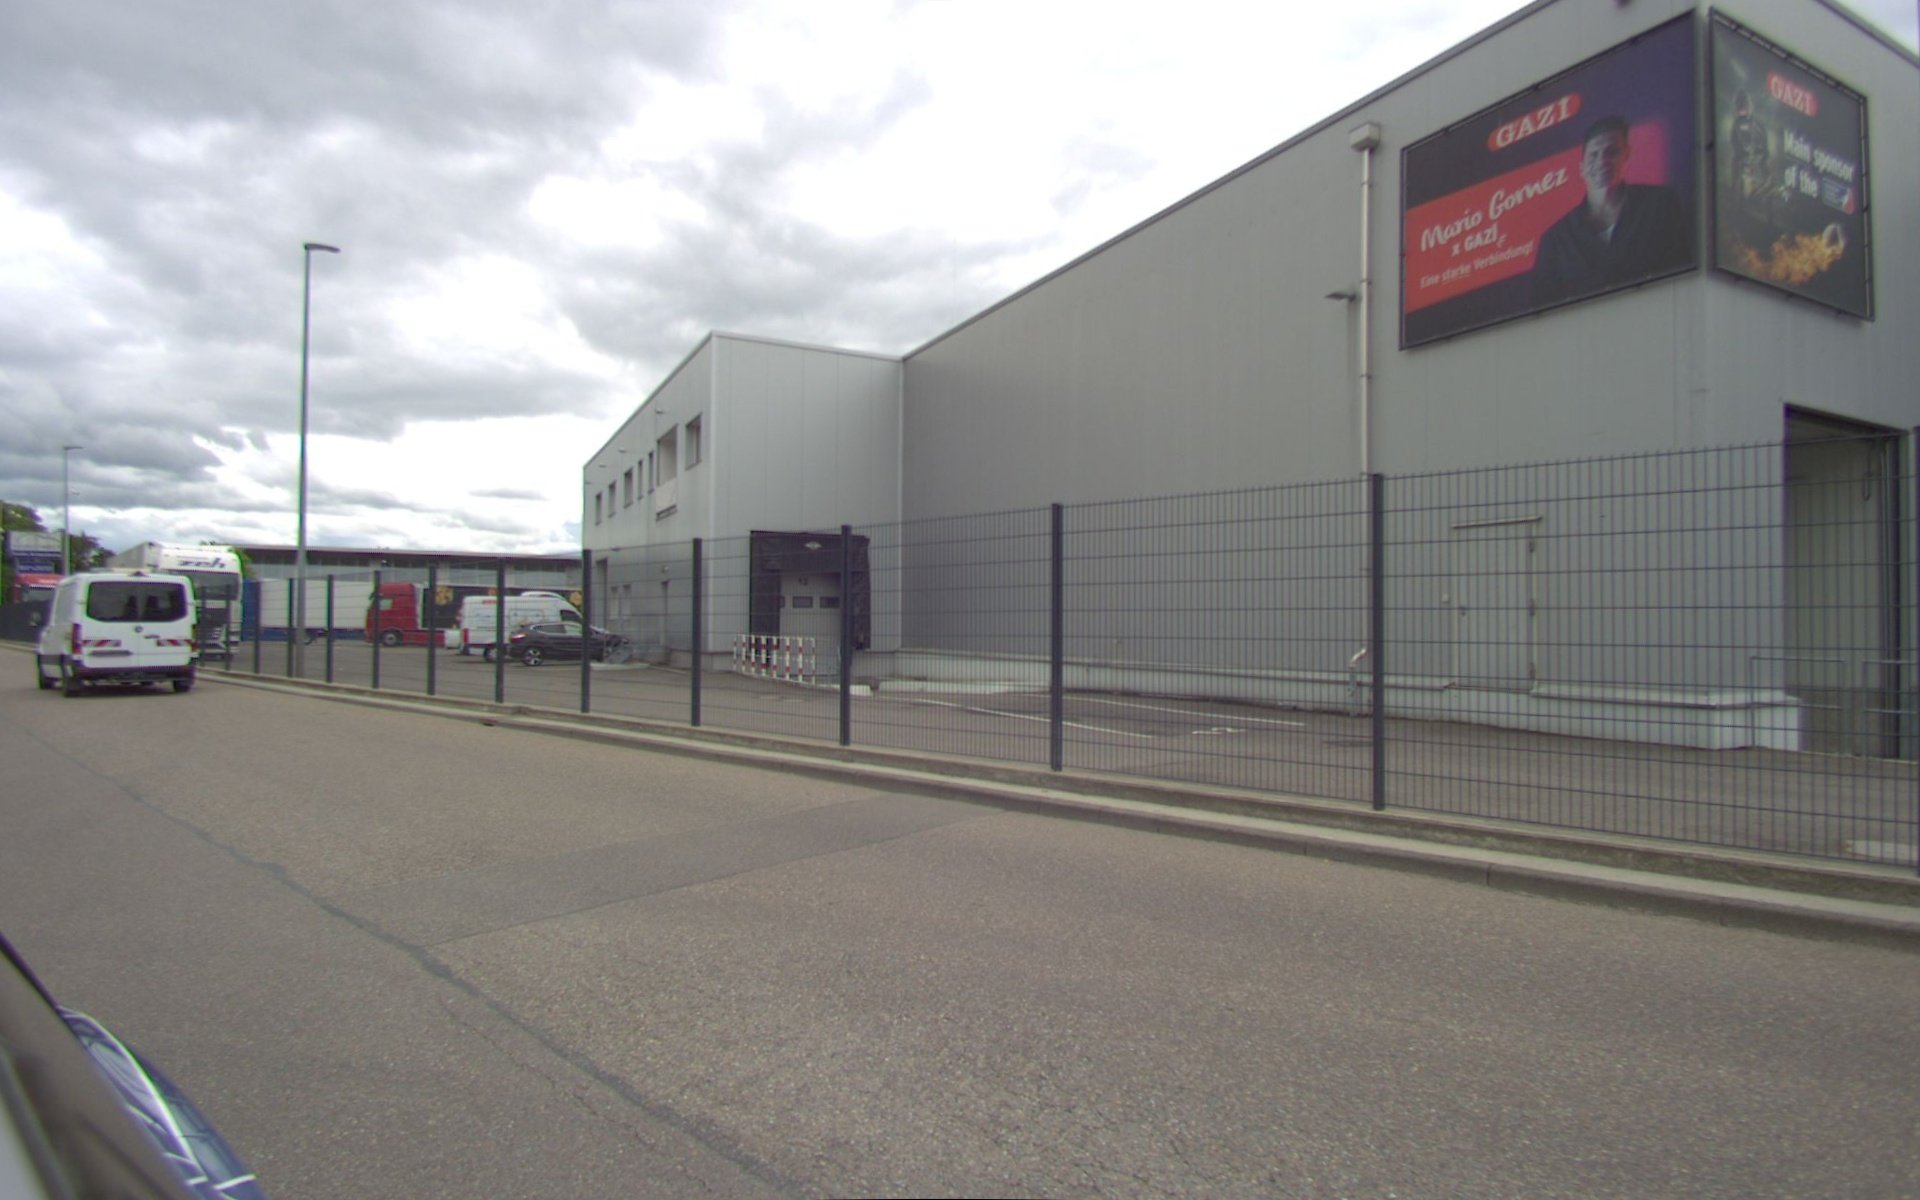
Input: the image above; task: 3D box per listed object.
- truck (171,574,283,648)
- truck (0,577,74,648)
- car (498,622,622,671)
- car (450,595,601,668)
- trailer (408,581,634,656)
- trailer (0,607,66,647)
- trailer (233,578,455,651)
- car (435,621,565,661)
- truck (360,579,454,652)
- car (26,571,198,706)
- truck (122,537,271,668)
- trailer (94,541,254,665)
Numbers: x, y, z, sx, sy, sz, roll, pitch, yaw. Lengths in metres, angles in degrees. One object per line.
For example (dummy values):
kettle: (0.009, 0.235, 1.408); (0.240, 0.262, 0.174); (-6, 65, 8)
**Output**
truck: (-44.486, 0.747, 61.464); (3.048, 4.164, 4.813); (-1, -4, 42)
truck: (-54.279, 0.766, 59.117); (5.669, 3.878, 2.981); (-1, -4, 42)
car: (-14.554, 1.654, 36.809); (4.010, 1.589, 1.950); (-1, -1, -27)
car: (-17.488, 1.232, 40.795); (5.341, 2.751, 2.248); (-1, -1, -29)
trailer: (-28.070, 1.304, 65.320); (12.962, 4.245, 3.058); (3, -3, -26)
trailer: (-58.688, 1.671, 63.095); (12.045, 2.209, 3.005); (-1, -4, 42)
trailer: (-39.336, 1.088, 65.251); (11.841, 4.164, 3.057); (3, -3, -30)
car: (-22.306, 2.019, 49.160); (5.595, 1.823, 1.950); (2, -3, -27)
truck: (-33.986, 1.019, 62.427); (4.797, 4.237, 3.058); (3, -3, -26)
car: (-17.540, 0.757, 20.827); (5.254, 2.434, 1.972); (-2, -1, 42)
truck: (-26.980, 0.185, 35.691); (3.320, 4.192, 5.630); (4, -4, -45)
trailer: (-31.882, 0.284, 40.691); (3.320, 4.192, 13.857); (4, -4, -44)
